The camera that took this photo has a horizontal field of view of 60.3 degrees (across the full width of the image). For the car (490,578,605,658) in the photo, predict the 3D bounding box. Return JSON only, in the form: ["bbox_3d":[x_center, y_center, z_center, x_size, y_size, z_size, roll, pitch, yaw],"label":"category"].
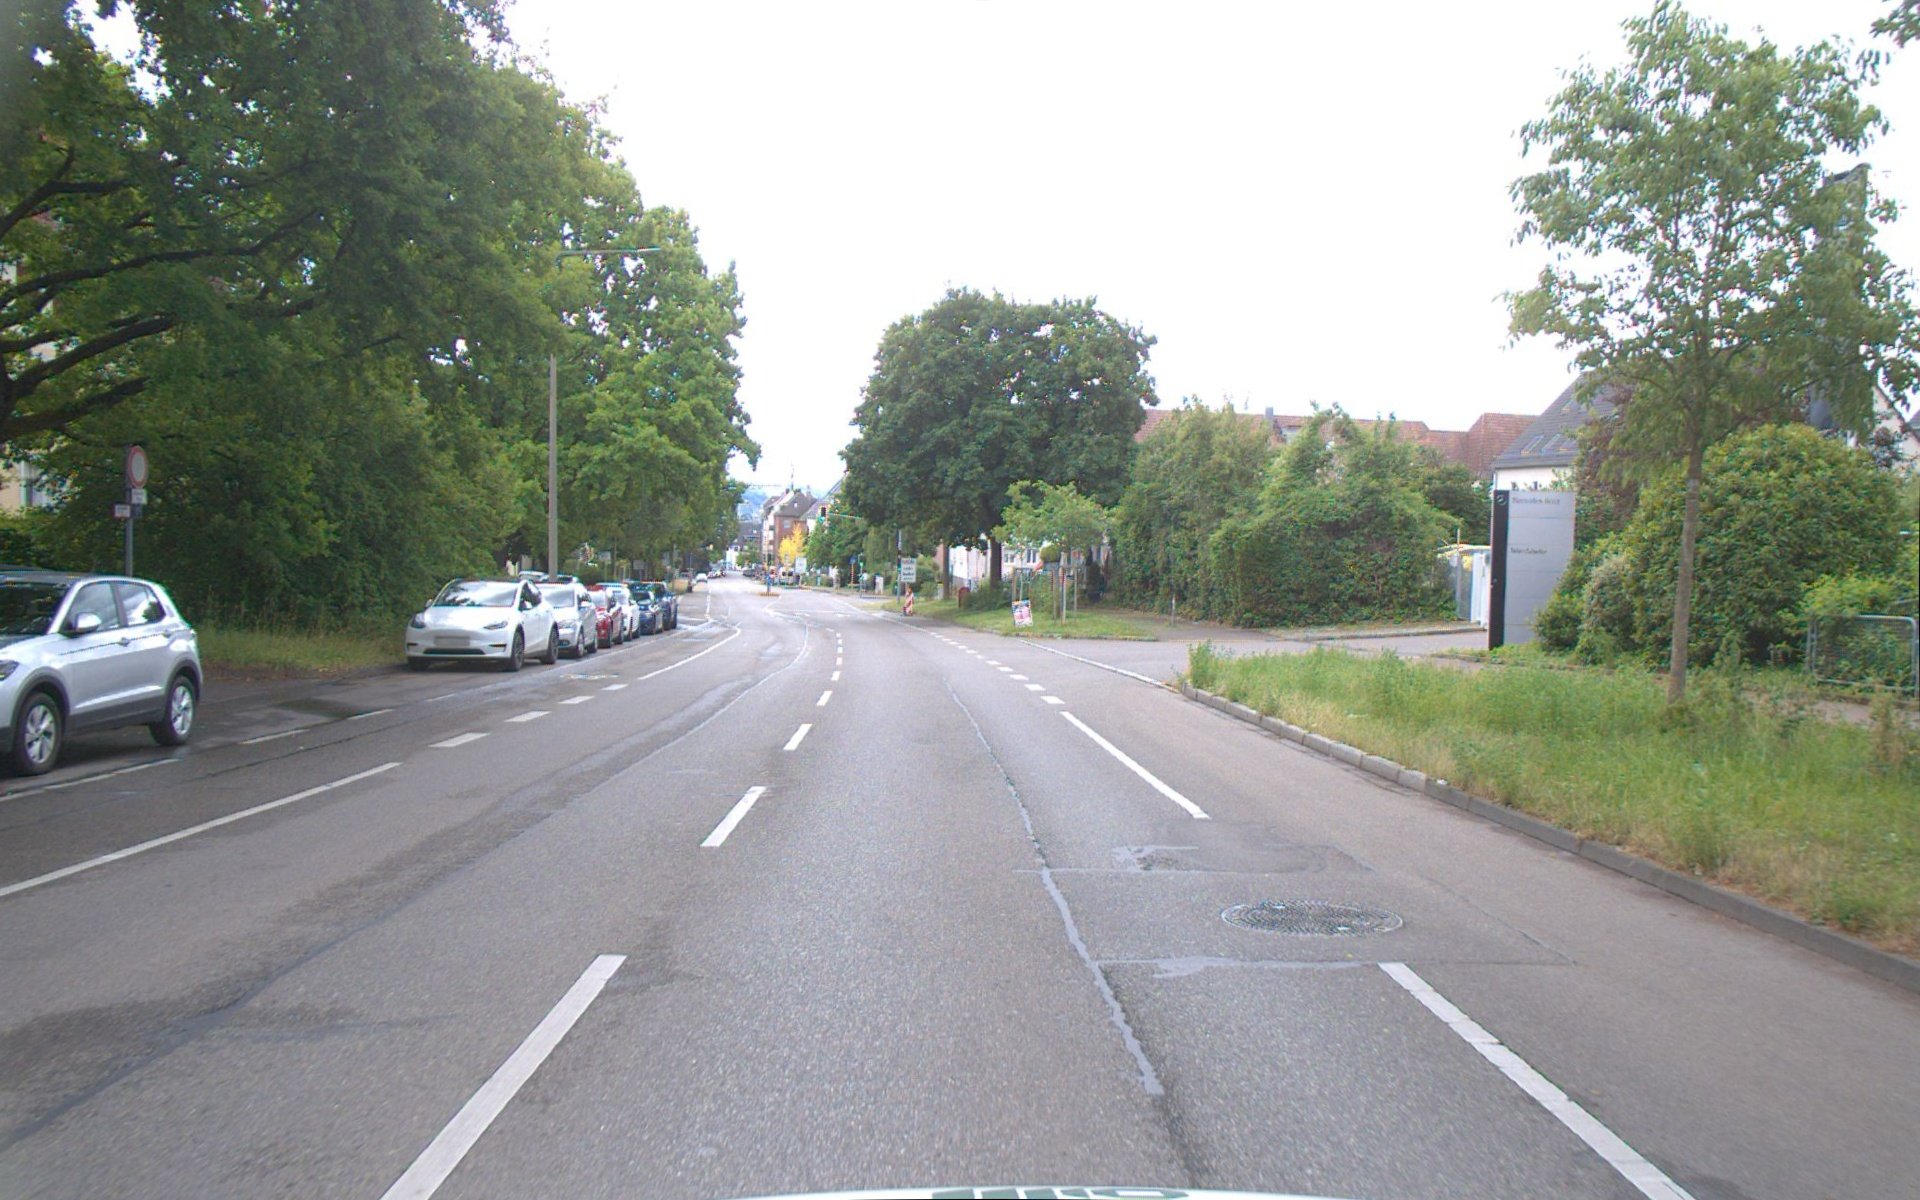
[{"bbox_3d":[-8.911,0.359,36.051,1.832,1.600,4.115,1,0,-6],"label":"car"}]

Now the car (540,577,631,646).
[{"bbox_3d":[-9.368,0.271,41.680,1.682,1.600,4.365,1,0,-6],"label":"car"}]

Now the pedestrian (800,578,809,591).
[{"bbox_3d":[-22.055,-2.168,234.454,1.177,1.841,1.299,2,0,-8],"label":"pedestrian"}]

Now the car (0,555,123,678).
[{"bbox_3d":[-14.028,0.064,22.362,4.342,1.479,1.887,5,0,1],"label":"car"}]

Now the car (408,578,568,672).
[{"bbox_3d":[-8.619,0.420,30.613,1.731,1.600,4.758,0,0,-2],"label":"car"}]

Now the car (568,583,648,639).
[{"bbox_3d":[-9.906,0.291,46.820,1.682,1.485,4.751,1,0,-6],"label":"car"}]

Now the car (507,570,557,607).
[{"bbox_3d":[-20.483,-0.574,79.251,1.728,1.661,4.281,2,0,-8],"label":"car"}]

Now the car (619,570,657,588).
[{"bbox_3d":[-29.997,-1.952,154.305,3.386,1.624,1.995,2,0,-10],"label":"car"}]

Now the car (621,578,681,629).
[{"bbox_3d":[-10.867,0.097,58.452,1.682,1.641,4.530,1,1,-6],"label":"car"}]

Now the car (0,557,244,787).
[{"bbox_3d":[-7.814,0.486,13.993,1.730,1.662,4.157,1,0,-1],"label":"car"}]

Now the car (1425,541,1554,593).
[{"bbox_3d":[18.428,-1.163,57.593,3.915,1.680,1.995,2,0,32],"label":"car"}]

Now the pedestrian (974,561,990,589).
[{"bbox_3d":[1.492,-1.685,111.515,0.738,1.887,0.948,-2,2,-23],"label":"pedestrian"}]

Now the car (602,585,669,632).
[{"bbox_3d":[-10.289,0.255,52.603,1.682,1.413,4.333,1,0,-6],"label":"car"}]
